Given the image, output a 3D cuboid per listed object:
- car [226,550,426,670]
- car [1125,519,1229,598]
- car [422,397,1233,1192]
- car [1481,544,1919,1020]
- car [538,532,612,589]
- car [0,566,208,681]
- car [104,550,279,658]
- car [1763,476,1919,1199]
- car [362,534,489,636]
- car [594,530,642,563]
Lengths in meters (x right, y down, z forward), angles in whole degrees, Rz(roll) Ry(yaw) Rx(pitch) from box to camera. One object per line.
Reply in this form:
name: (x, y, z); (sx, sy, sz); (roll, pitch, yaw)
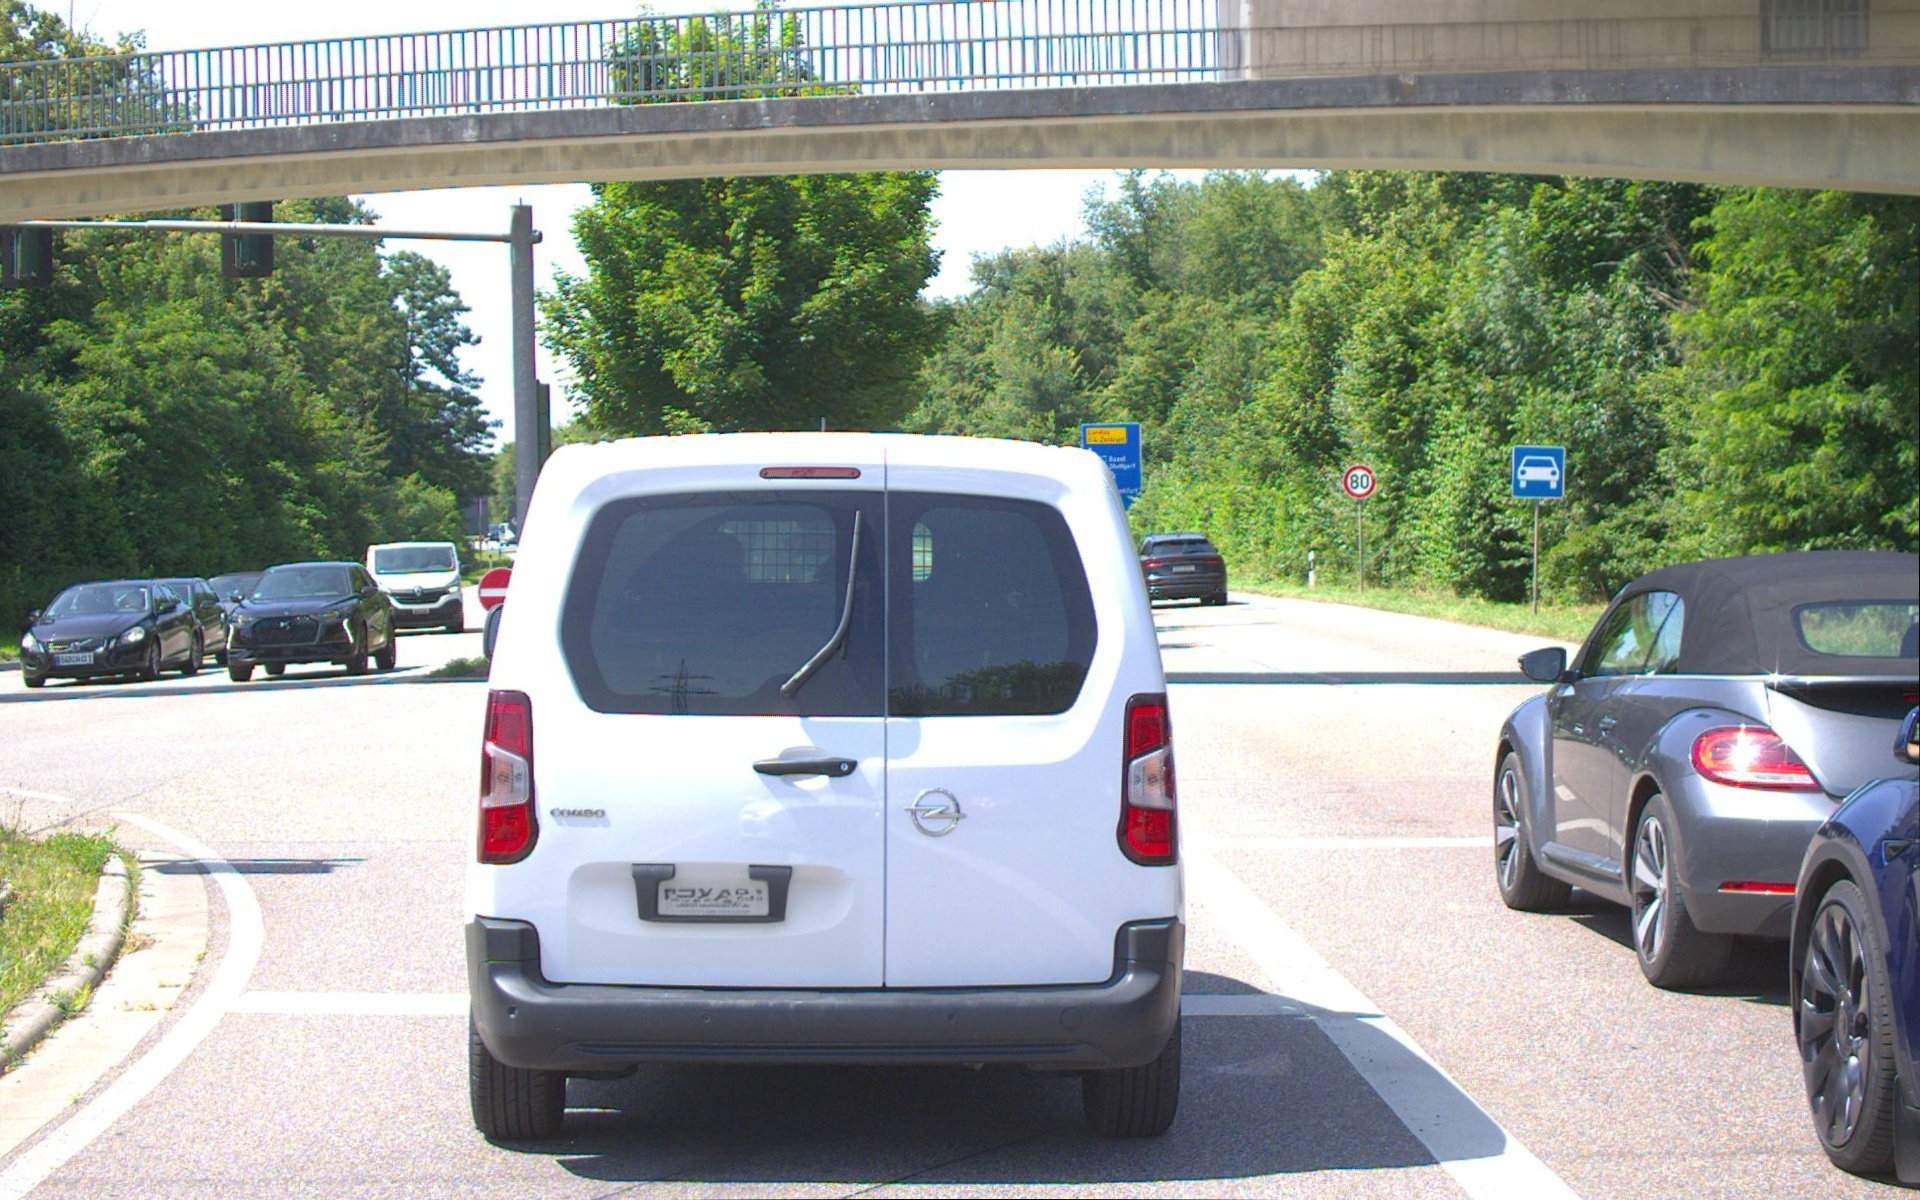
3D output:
car: (-8.511, 0.103, 46.445); (1.993, 1.518, 4.028); (-1, 1, -1)
car: (4.893, -0.976, 78.262); (2.042, 1.693, 5.086); (-1, 1, 0)
car: (-0.363, 0.395, 9.918); (1.849, 1.819, 3.982); (1, 2, -2)
car: (3.218, 0.547, 12.743); (1.900, 1.472, 3.939); (1, 1, -1)
car: (-14.298, -1.471, 127.912); (2.208, 1.986, 4.734); (-2, 1, -1)
car: (-12.105, 0.297, 48.752); (2.008, 1.455, 4.055); (-2, 1, -1)
car: (-12.603, 0.036, 56.588); (1.993, 1.659, 4.000); (-1, 1, -1)
car: (3.053, 0.578, 6.569); (1.900, 1.639, 4.520); (1, 1, -1)
car: (-11.304, -0.344, 73.039); (2.208, 1.986, 5.489); (-2, 1, -5)
car: (-17.186, -2.695, 173.113); (2.008, 1.596, 4.055); (-2, 1, -1)
